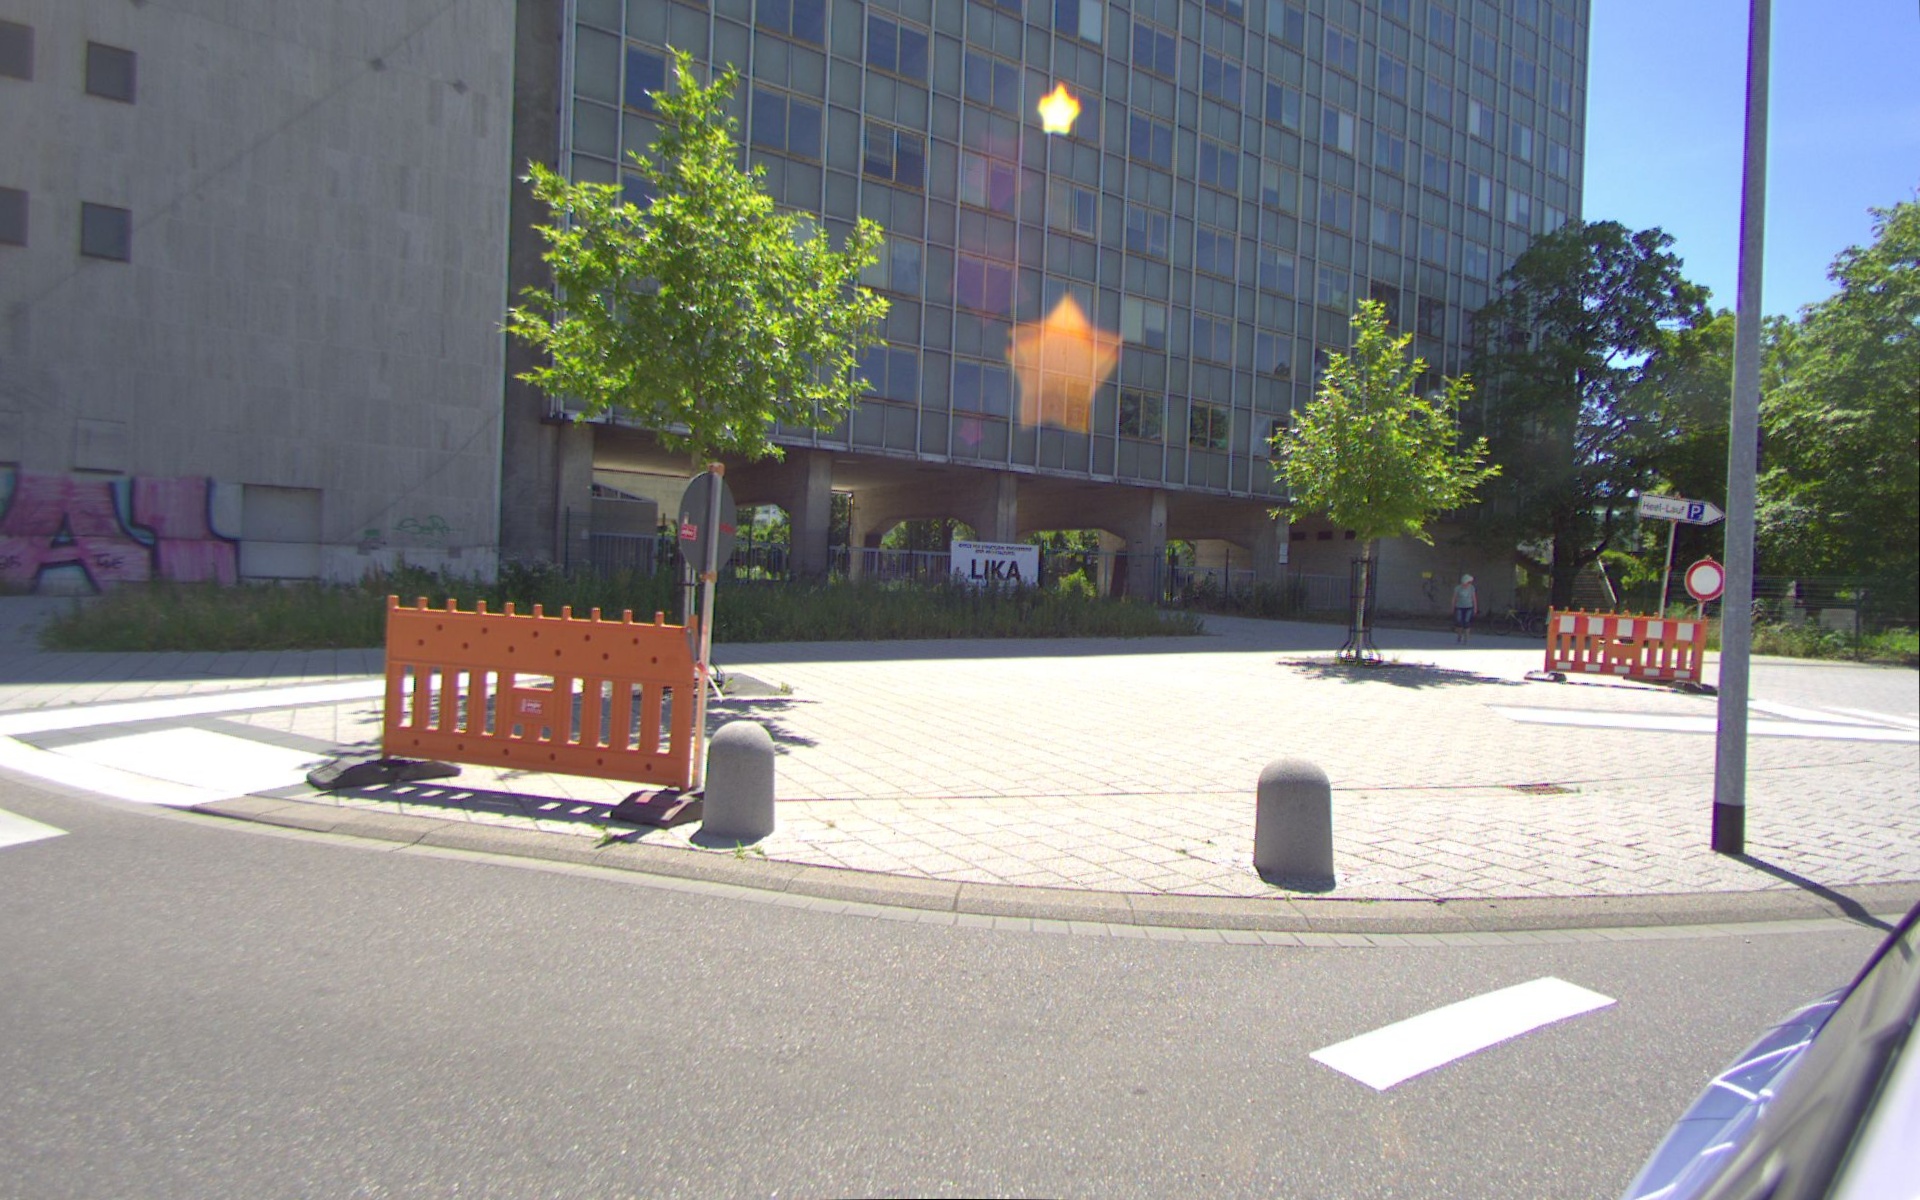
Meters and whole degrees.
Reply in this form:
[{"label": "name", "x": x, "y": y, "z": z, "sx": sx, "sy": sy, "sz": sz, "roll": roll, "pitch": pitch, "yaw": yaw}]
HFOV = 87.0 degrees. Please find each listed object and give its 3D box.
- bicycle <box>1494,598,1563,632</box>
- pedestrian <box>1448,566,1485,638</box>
[{"label": "bicycle", "x": 17.196, "y": 0.436, "z": 30.635, "sx": 1.745, "sy": 0.918, "sz": 0.442, "roll": 3, "pitch": 1, "yaw": 38}, {"label": "pedestrian", "x": 12.410, "y": 0.040, "z": 24.797, "sx": 0.556, "sy": 1.728, "sz": 0.486, "roll": 3, "pitch": 3, "yaw": 5}]
